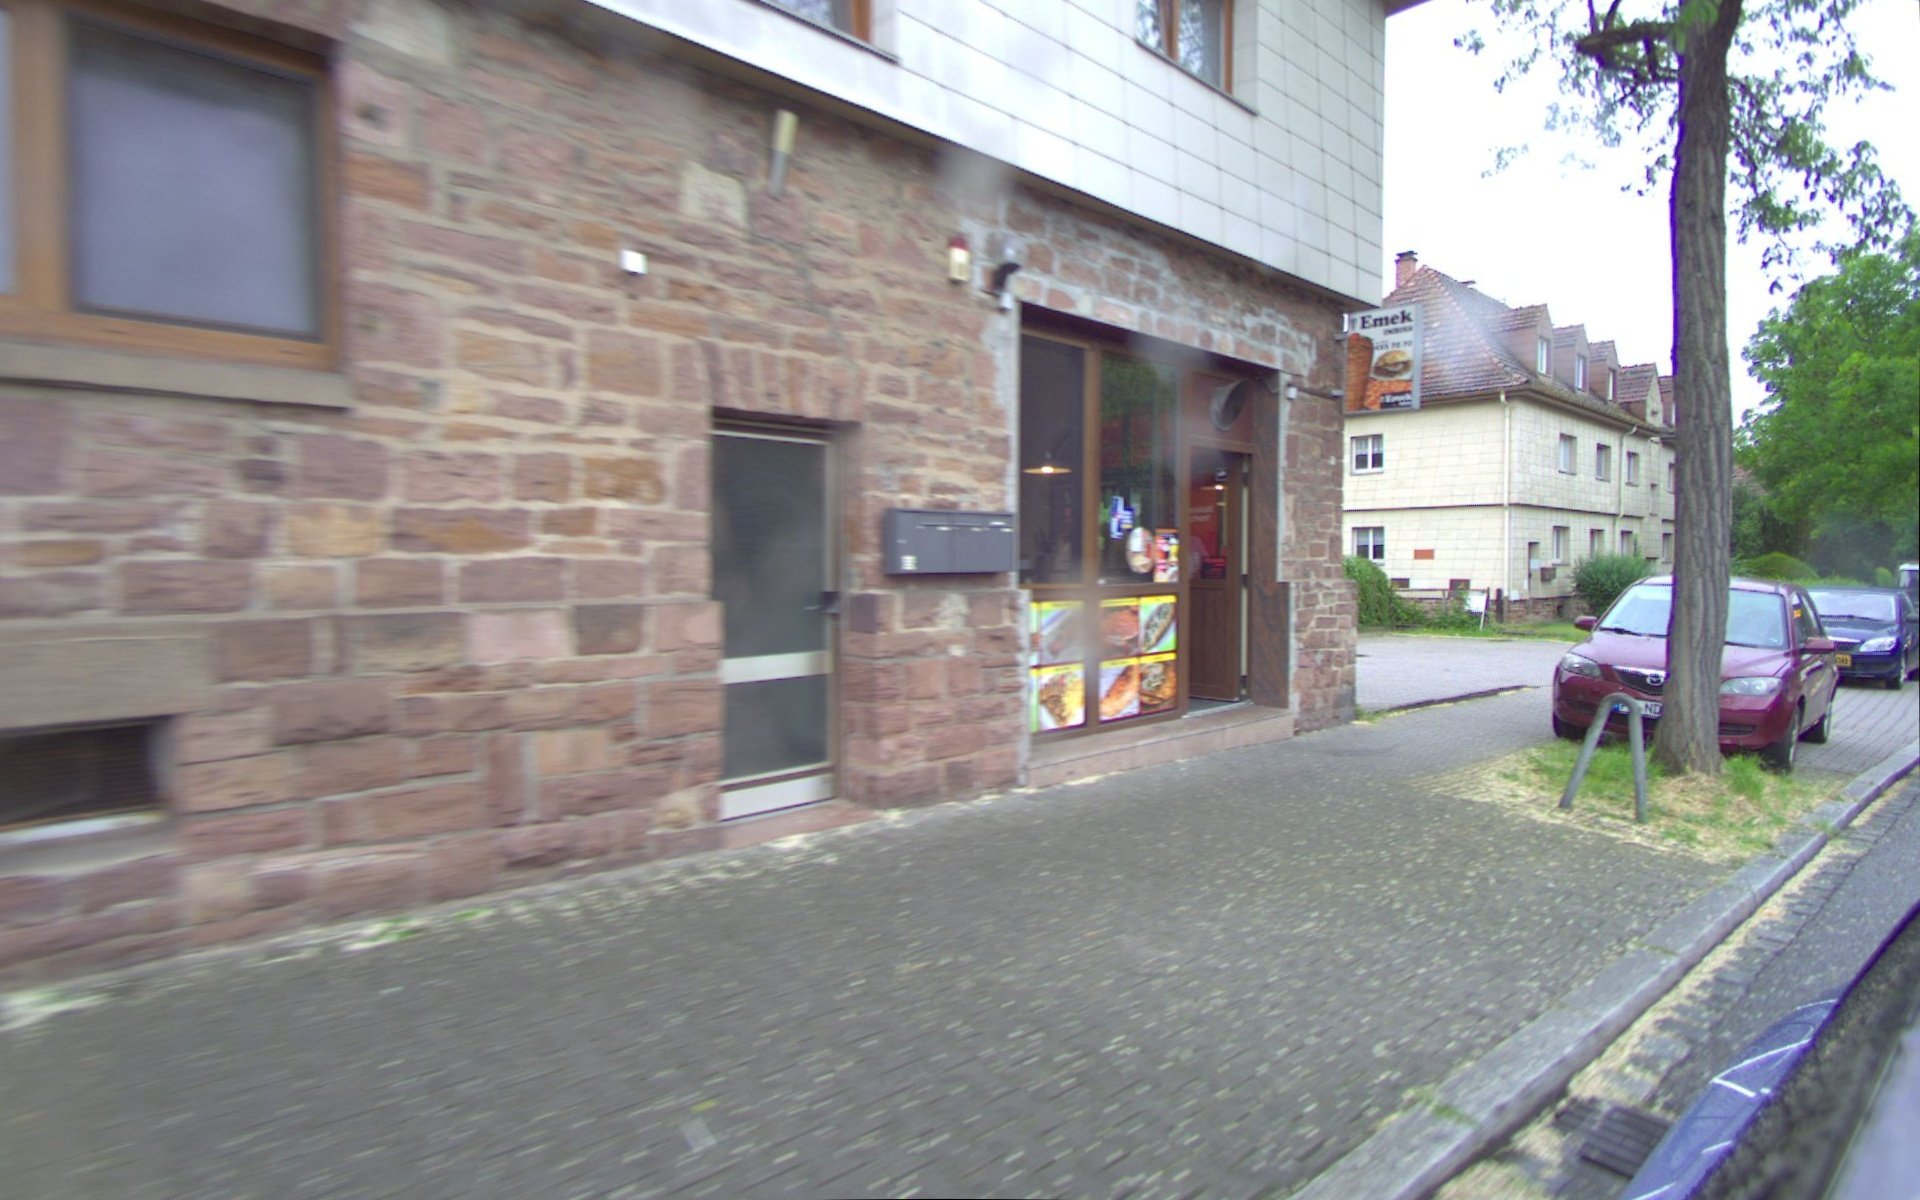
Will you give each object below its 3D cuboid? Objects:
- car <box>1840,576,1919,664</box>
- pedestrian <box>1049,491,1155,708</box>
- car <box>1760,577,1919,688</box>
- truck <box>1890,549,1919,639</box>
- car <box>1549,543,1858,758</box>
[{"bbox_3d":[18.075,0.321,19.089,3.932,1.481,1.719,-1,4,-42],"label":"car"},{"bbox_3d":[1.193,-0.009,8.610,0.475,1.751,0.803,-1,0,-30],"label":"pedestrian"},{"bbox_3d":[14.051,0.397,15.777,3.930,1.441,1.719,-1,4,-41],"label":"car"},{"bbox_3d":[26.148,-0.137,26.407,5.653,2.224,1.998,0,2,-40],"label":"truck"},{"bbox_3d":[6.767,0.363,9.073,3.694,1.523,1.611,0,-1,-44],"label":"car"}]
